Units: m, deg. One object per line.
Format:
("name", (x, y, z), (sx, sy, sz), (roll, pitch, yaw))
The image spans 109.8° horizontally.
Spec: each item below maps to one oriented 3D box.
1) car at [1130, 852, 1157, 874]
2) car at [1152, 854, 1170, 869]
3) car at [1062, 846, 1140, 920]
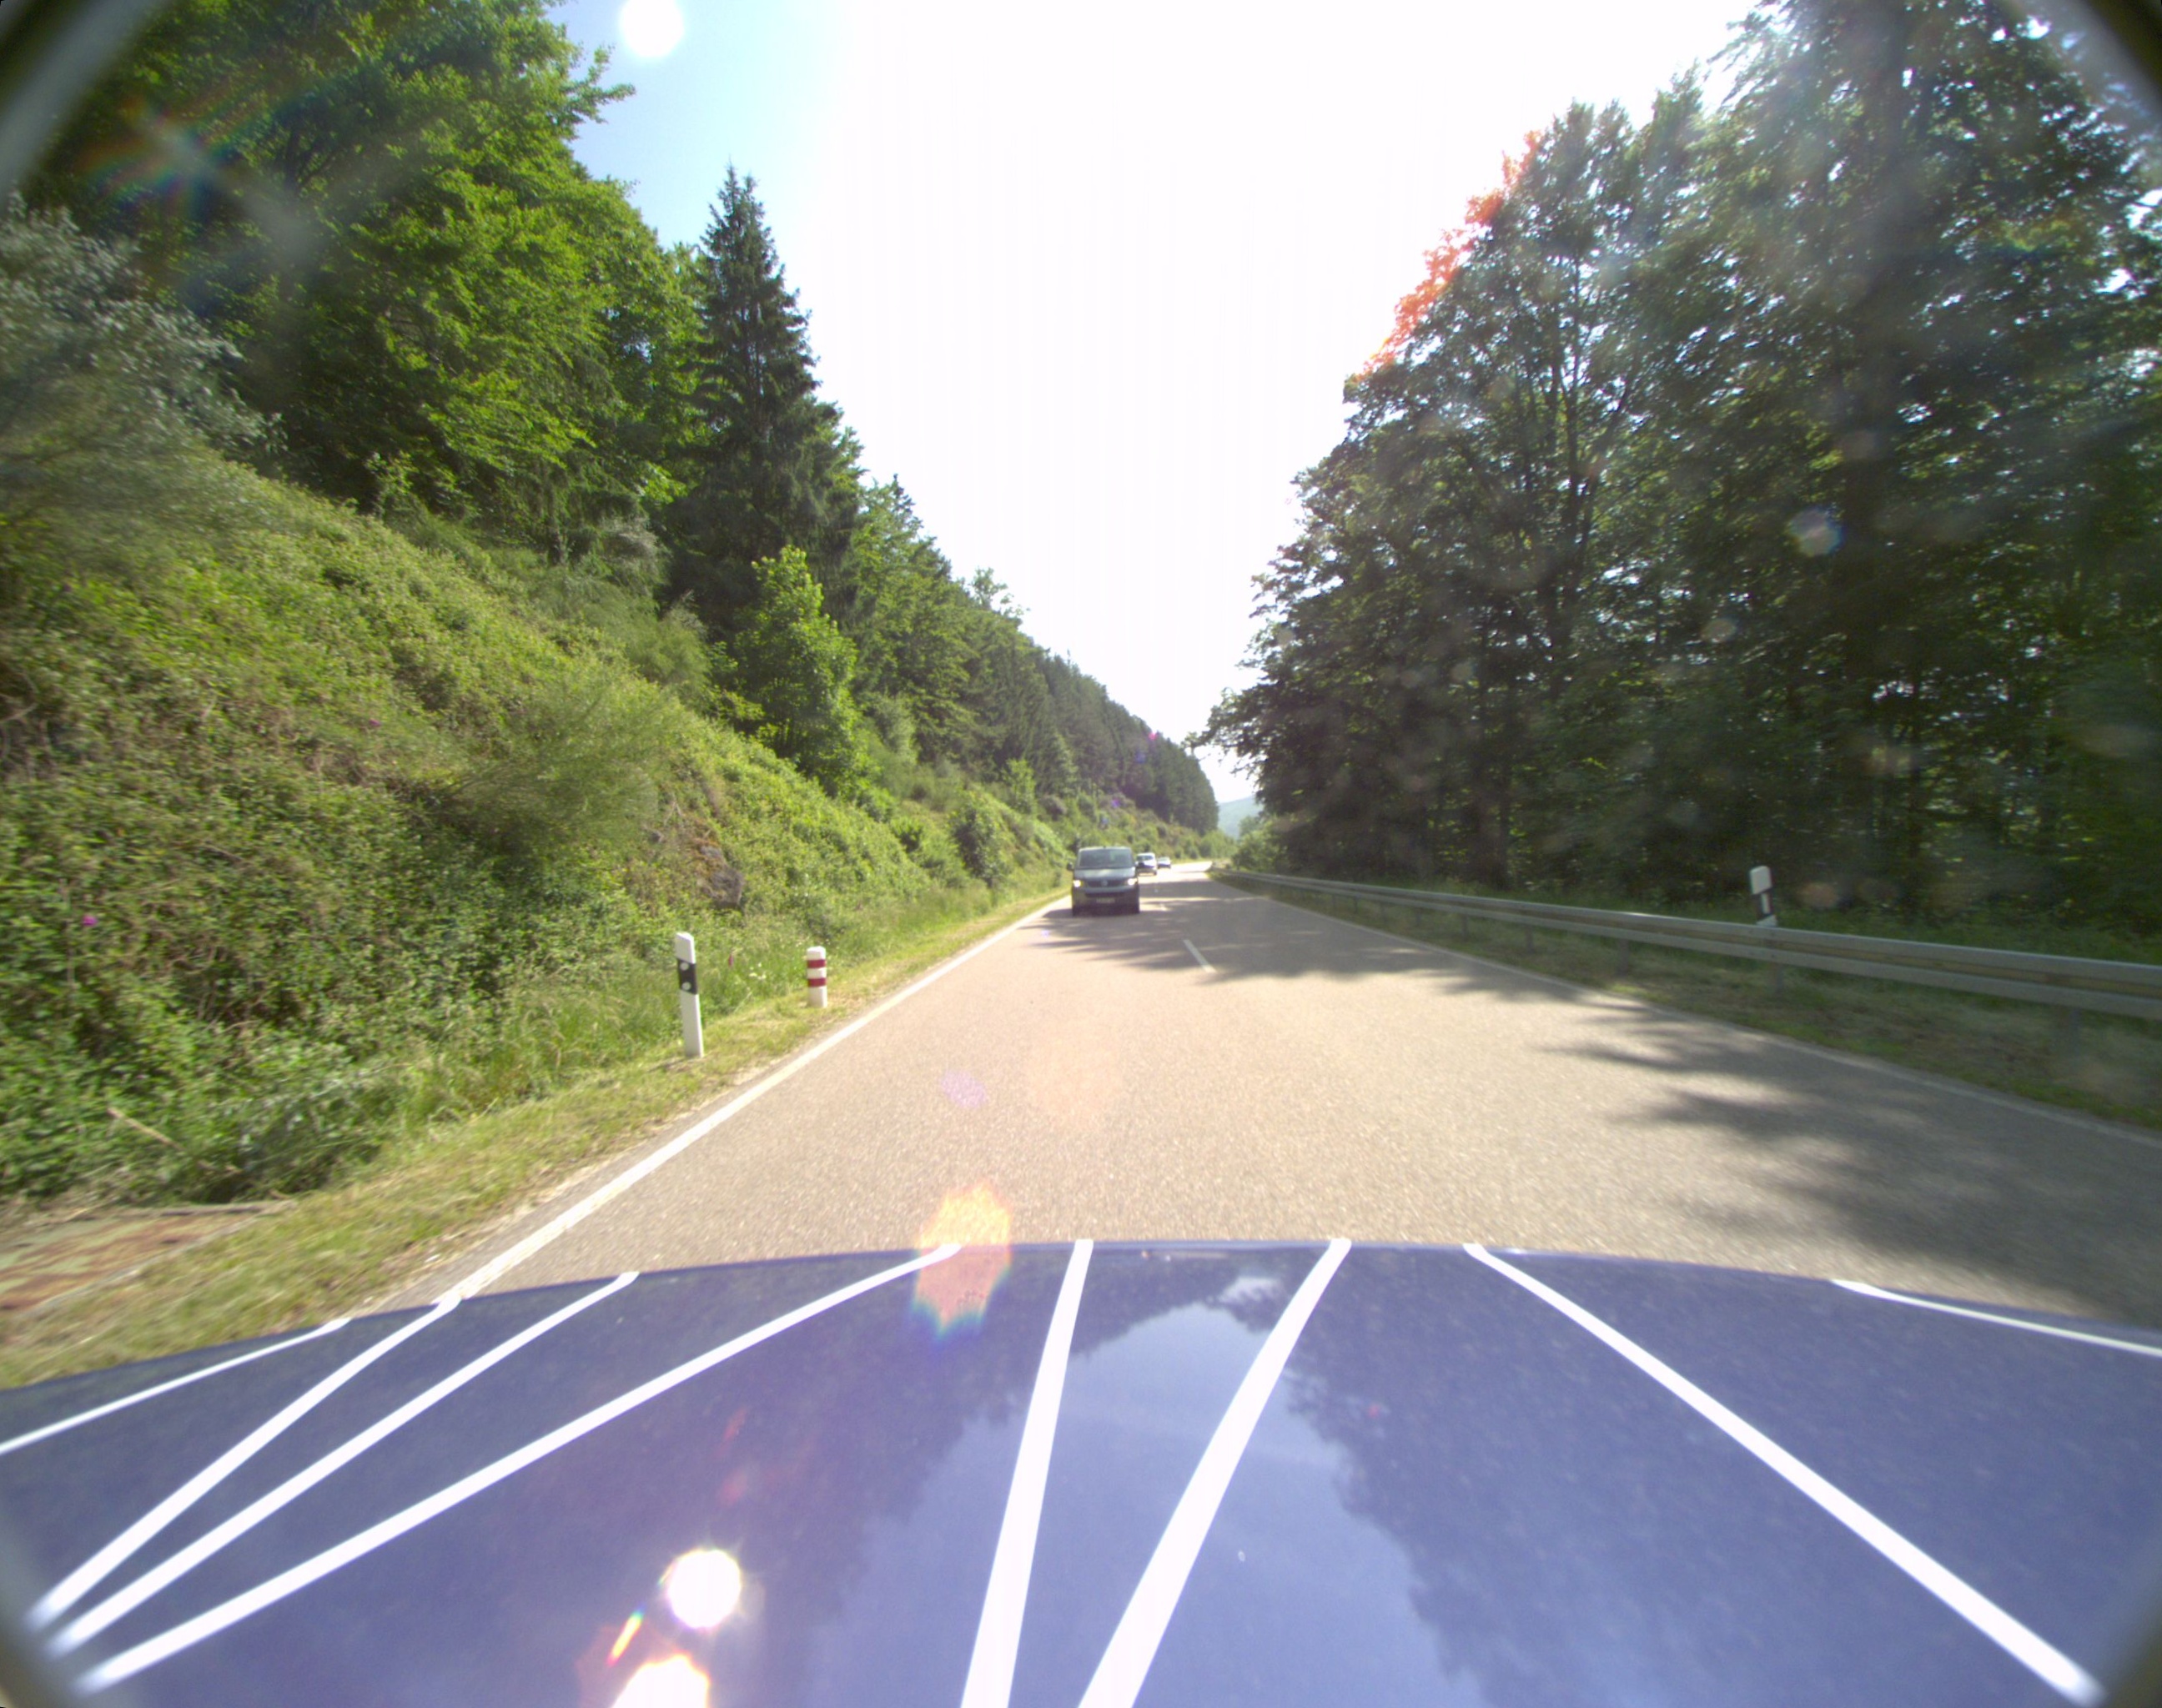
("car", (5.485, 0.742, 65.877), (2.136, 1.824, 4.725), (-2, 0, 6))
("car", (10.110, 0.928, 95.860), (1.997, 1.718, 4.003), (-2, 0, 10))
("car", (0.710, 0.777, 22.549), (1.990, 1.899, 4.762), (-2, 0, 5))
